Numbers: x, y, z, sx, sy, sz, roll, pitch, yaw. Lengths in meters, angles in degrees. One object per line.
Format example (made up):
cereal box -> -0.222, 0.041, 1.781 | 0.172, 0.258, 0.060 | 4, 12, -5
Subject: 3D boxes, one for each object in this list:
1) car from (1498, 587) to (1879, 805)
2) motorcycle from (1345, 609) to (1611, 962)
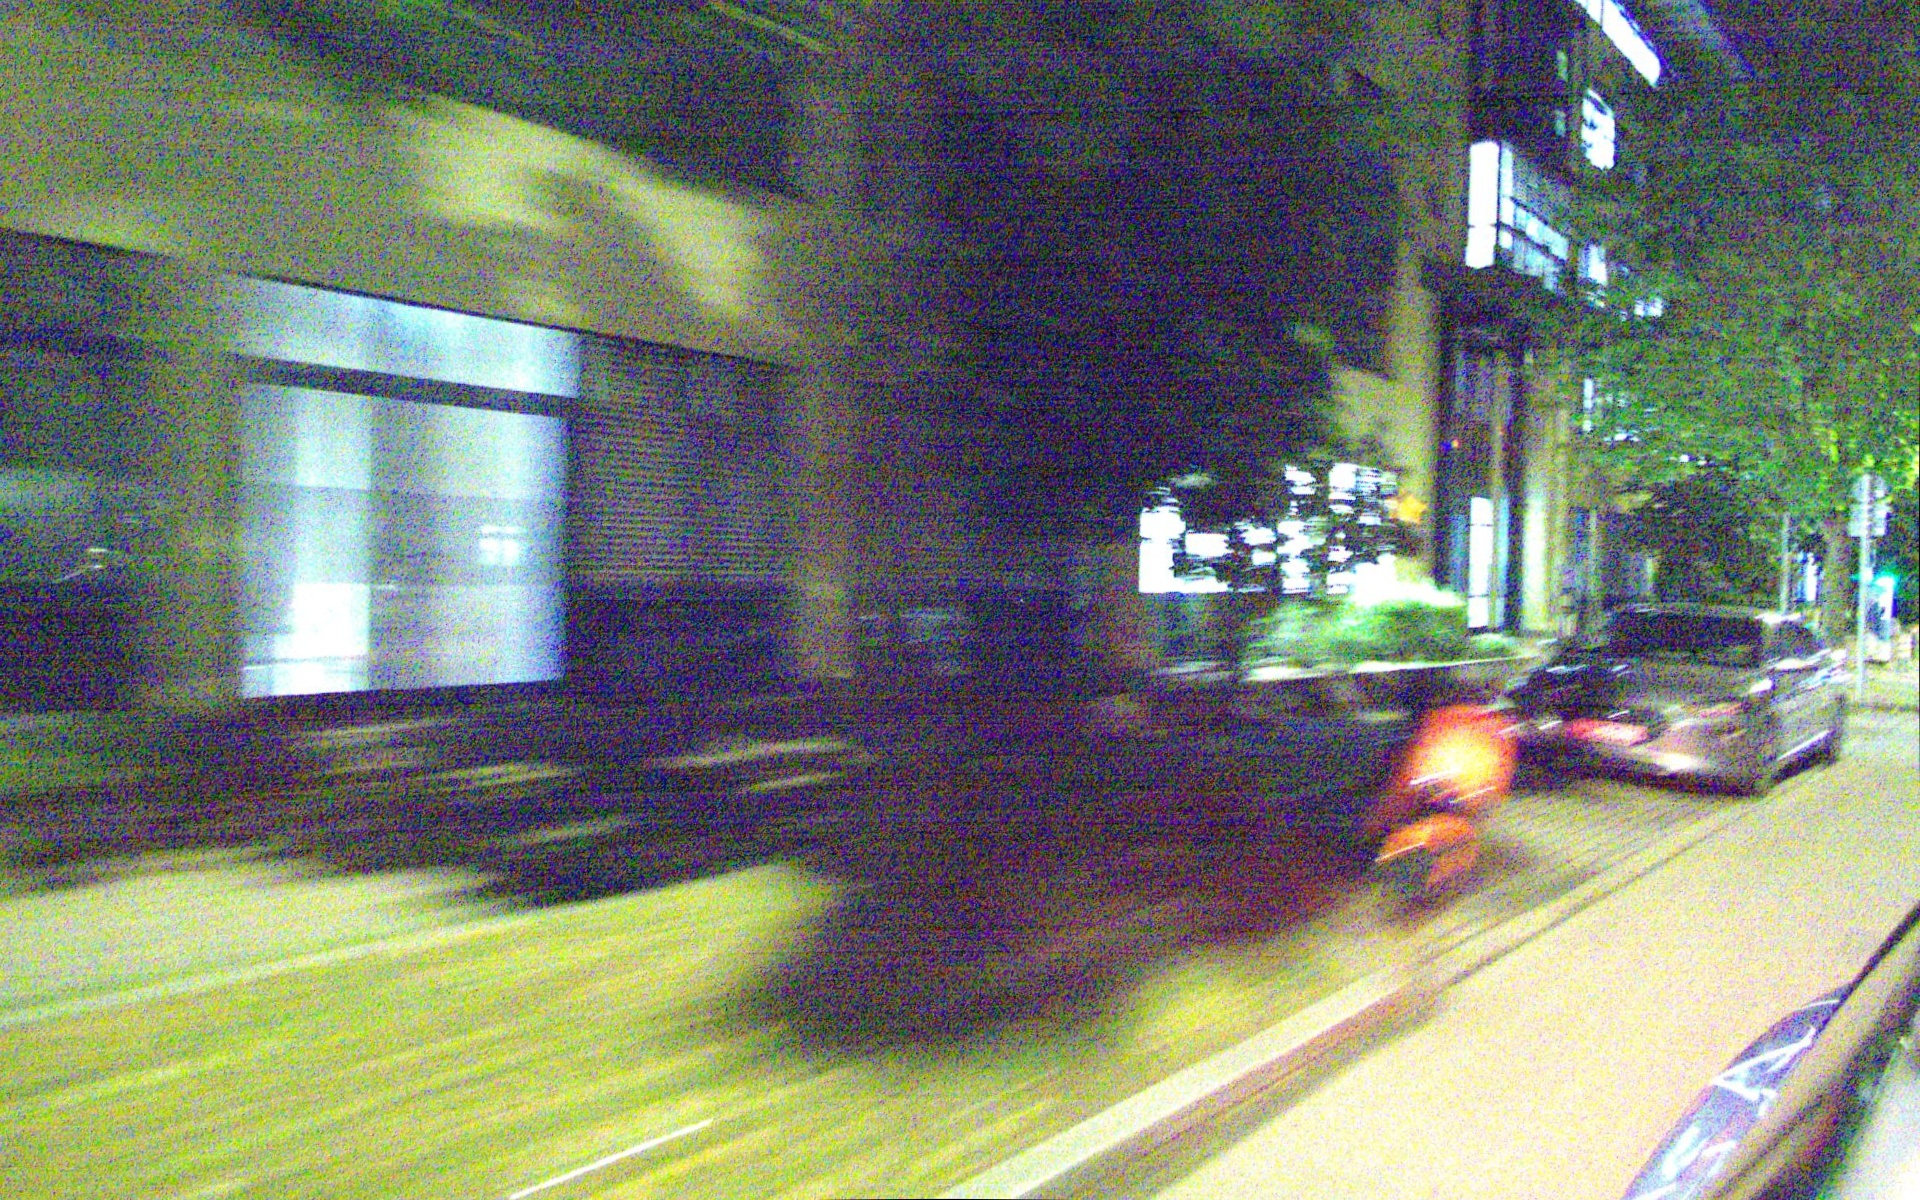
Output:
car -> 6.627, 0.680, 9.056 | 4.072, 1.446, 1.673 | 0, 3, -39
motorcycle -> 2.575, 0.746, 5.207 | 0.919, 1.299, 2.216 | 3, 2, 24
